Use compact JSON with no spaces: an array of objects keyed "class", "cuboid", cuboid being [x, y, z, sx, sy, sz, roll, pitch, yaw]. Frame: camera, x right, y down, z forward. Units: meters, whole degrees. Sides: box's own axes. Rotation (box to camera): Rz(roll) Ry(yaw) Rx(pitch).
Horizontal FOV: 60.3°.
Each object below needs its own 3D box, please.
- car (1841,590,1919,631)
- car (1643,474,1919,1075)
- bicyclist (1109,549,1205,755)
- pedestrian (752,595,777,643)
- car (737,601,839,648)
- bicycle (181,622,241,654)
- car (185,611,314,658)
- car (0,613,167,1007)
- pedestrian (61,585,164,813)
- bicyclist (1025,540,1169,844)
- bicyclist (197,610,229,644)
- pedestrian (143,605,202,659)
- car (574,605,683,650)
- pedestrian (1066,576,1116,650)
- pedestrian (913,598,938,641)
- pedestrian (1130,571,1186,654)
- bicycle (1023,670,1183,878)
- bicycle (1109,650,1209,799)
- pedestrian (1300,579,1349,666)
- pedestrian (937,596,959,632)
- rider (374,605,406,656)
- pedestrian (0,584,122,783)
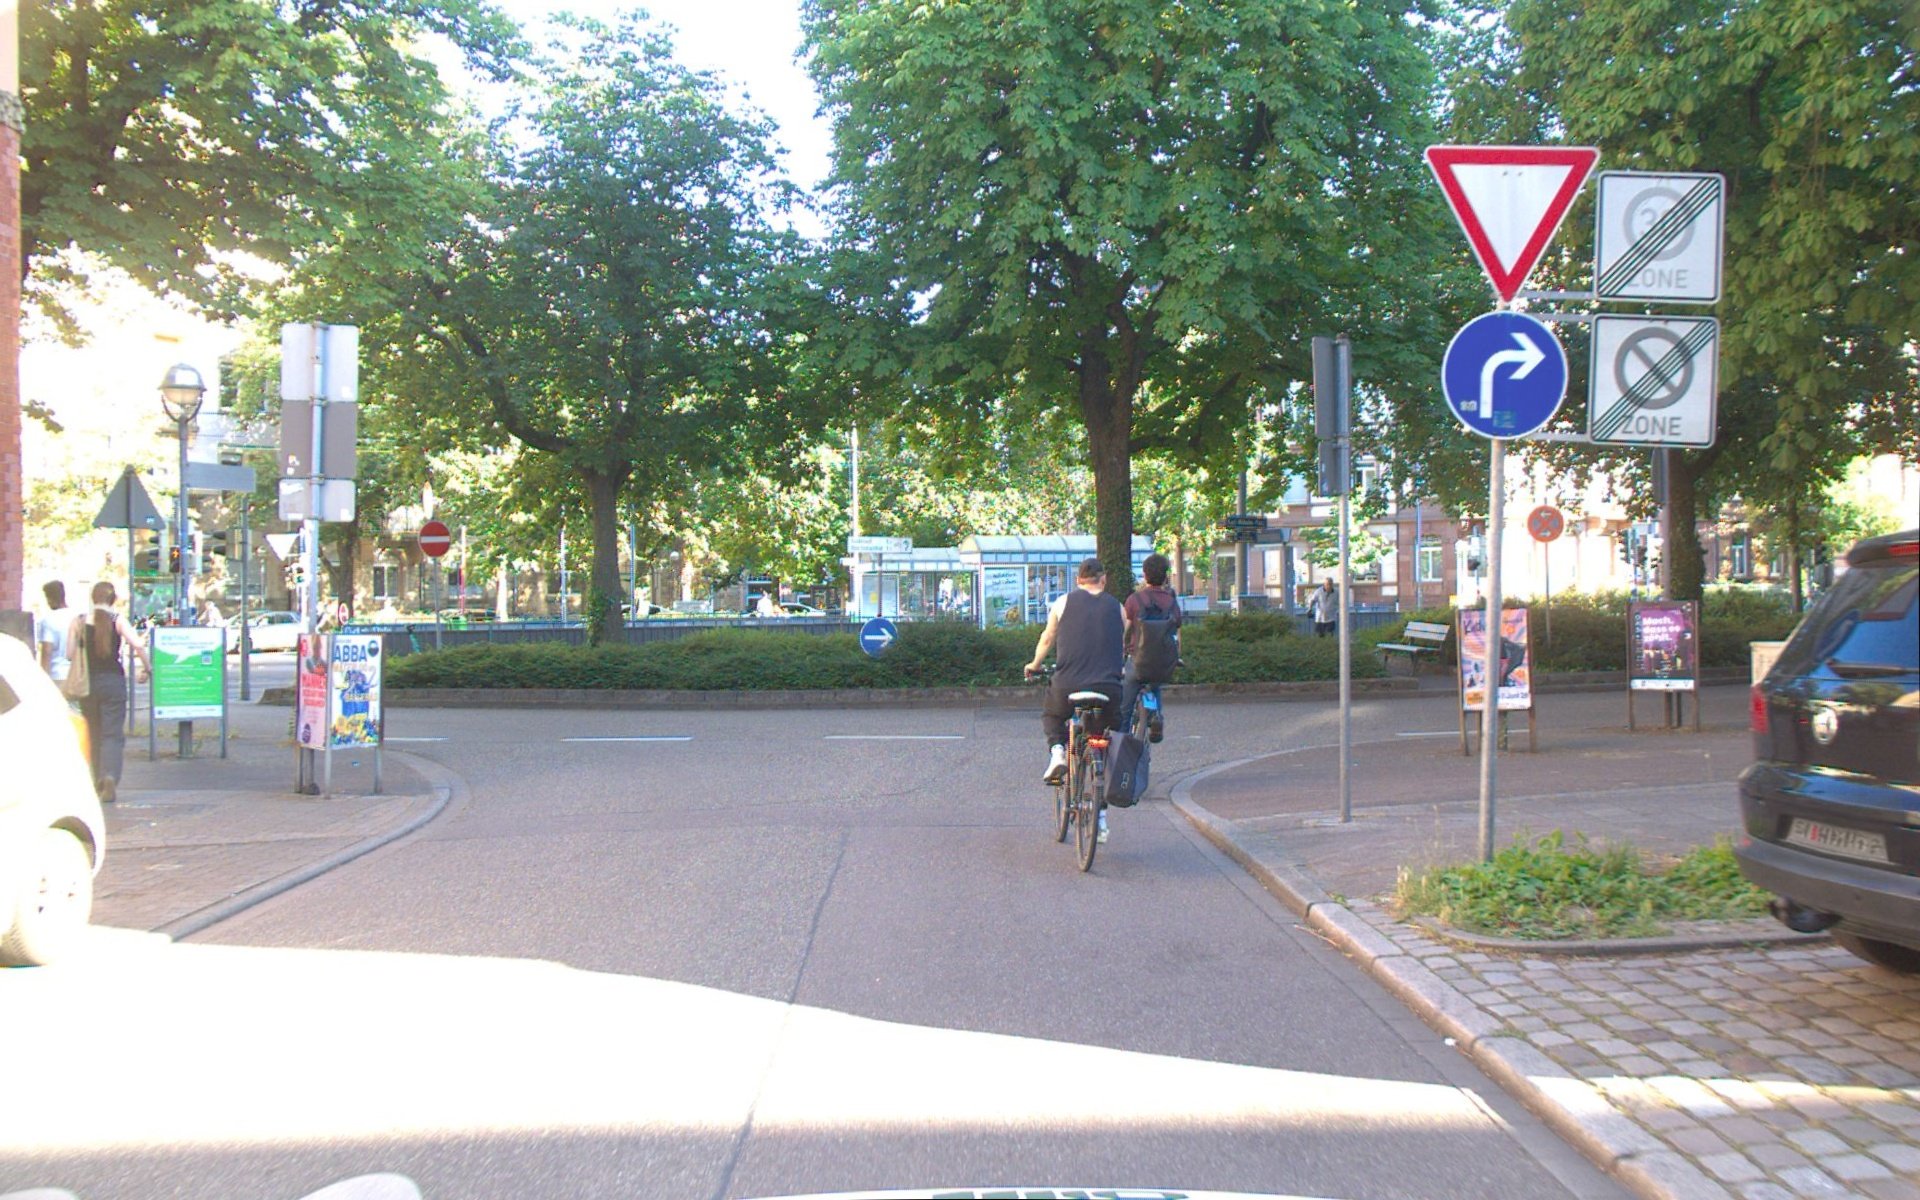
[{"class":"car","cuboid":[39.734,0.419,69.956,4.298,1.522,1.988,-3,1,-21]},{"class":"car","cuboid":[4.723,0.426,5.506,4.026,1.742,2.022,-2,1,-6]},{"class":"bicyclist","cuboid":[1.528,0.399,12.964,0.657,1.541,1.069,-1,-1,4]},{"class":"pedestrian","cuboid":[-7.052,0.687,59.598,0.692,1.724,0.666,1,0,-23]},{"class":"car","cuboid":[-7.430,1.021,71.316,3.939,1.903,1.983,-1,0,-27]},{"class":"bicycle","cuboid":[-23.836,1.195,52.648,0.640,0.962,1.741,-1,0,26]},{"class":"car","cuboid":[-23.904,1.138,55.794,1.857,1.464,3.704,-1,0,25]},{"class":"car","cuboid":[-4.552,0.813,5.846,1.670,1.511,3.796,1,0,-1]},{"class":"pedestrian","cuboid":[-6.346,0.712,12.409,0.591,1.633,0.849,-1,0,-23]},{"class":"bicyclist","cuboid":[0.795,0.520,9.829,0.737,1.711,0.913,-1,0,-1]},{"class":"bicyclist","cuboid":[-23.807,0.852,52.704,0.598,1.072,0.676,-1,0,26]},{"class":"pedestrian","cuboid":[-28.746,1.162,60.390,1.231,1.945,1.493,-1,0,23]},{"class":"car","cuboid":[-13.421,1.106,67.048,3.920,1.709,1.922,-1,0,-45]},{"class":"pedestrian","cuboid":[3.500,0.348,44.265,1.003,1.930,0.906,-1,0,-23]},{"class":"pedestrian","cuboid":[-1.291,0.734,62.269,0.795,1.570,0.818,1,0,-12]},{"class":"pedestrian","cuboid":[4.175,0.262,34.850,0.880,1.713,0.817,-1,0,33]},{"class":"bicycle","cuboid":[0.805,0.974,9.866,0.722,1.030,2.061,1,-1,-1]},{"class":"bicycle","cuboid":[1.558,0.950,13.204,0.660,1.072,2.062,-1,-1,3]},{"class":"pedestrian","cuboid":[7.329,0.438,33.290,0.896,1.713,0.781,-1,0,9]},{"class":"pedestrian","cuboid":[-0.573,0.640,77.067,0.980,1.659,1.064,-1,0,-2]},{"class":"rider","cuboid":[-19.561,1.050,56.785,0.801,1.711,0.671,1,0,9]},{"class":"pedestrian","cuboid":[-7.911,0.705,14.434,0.852,1.672,0.858,-1,0,-12]}]
